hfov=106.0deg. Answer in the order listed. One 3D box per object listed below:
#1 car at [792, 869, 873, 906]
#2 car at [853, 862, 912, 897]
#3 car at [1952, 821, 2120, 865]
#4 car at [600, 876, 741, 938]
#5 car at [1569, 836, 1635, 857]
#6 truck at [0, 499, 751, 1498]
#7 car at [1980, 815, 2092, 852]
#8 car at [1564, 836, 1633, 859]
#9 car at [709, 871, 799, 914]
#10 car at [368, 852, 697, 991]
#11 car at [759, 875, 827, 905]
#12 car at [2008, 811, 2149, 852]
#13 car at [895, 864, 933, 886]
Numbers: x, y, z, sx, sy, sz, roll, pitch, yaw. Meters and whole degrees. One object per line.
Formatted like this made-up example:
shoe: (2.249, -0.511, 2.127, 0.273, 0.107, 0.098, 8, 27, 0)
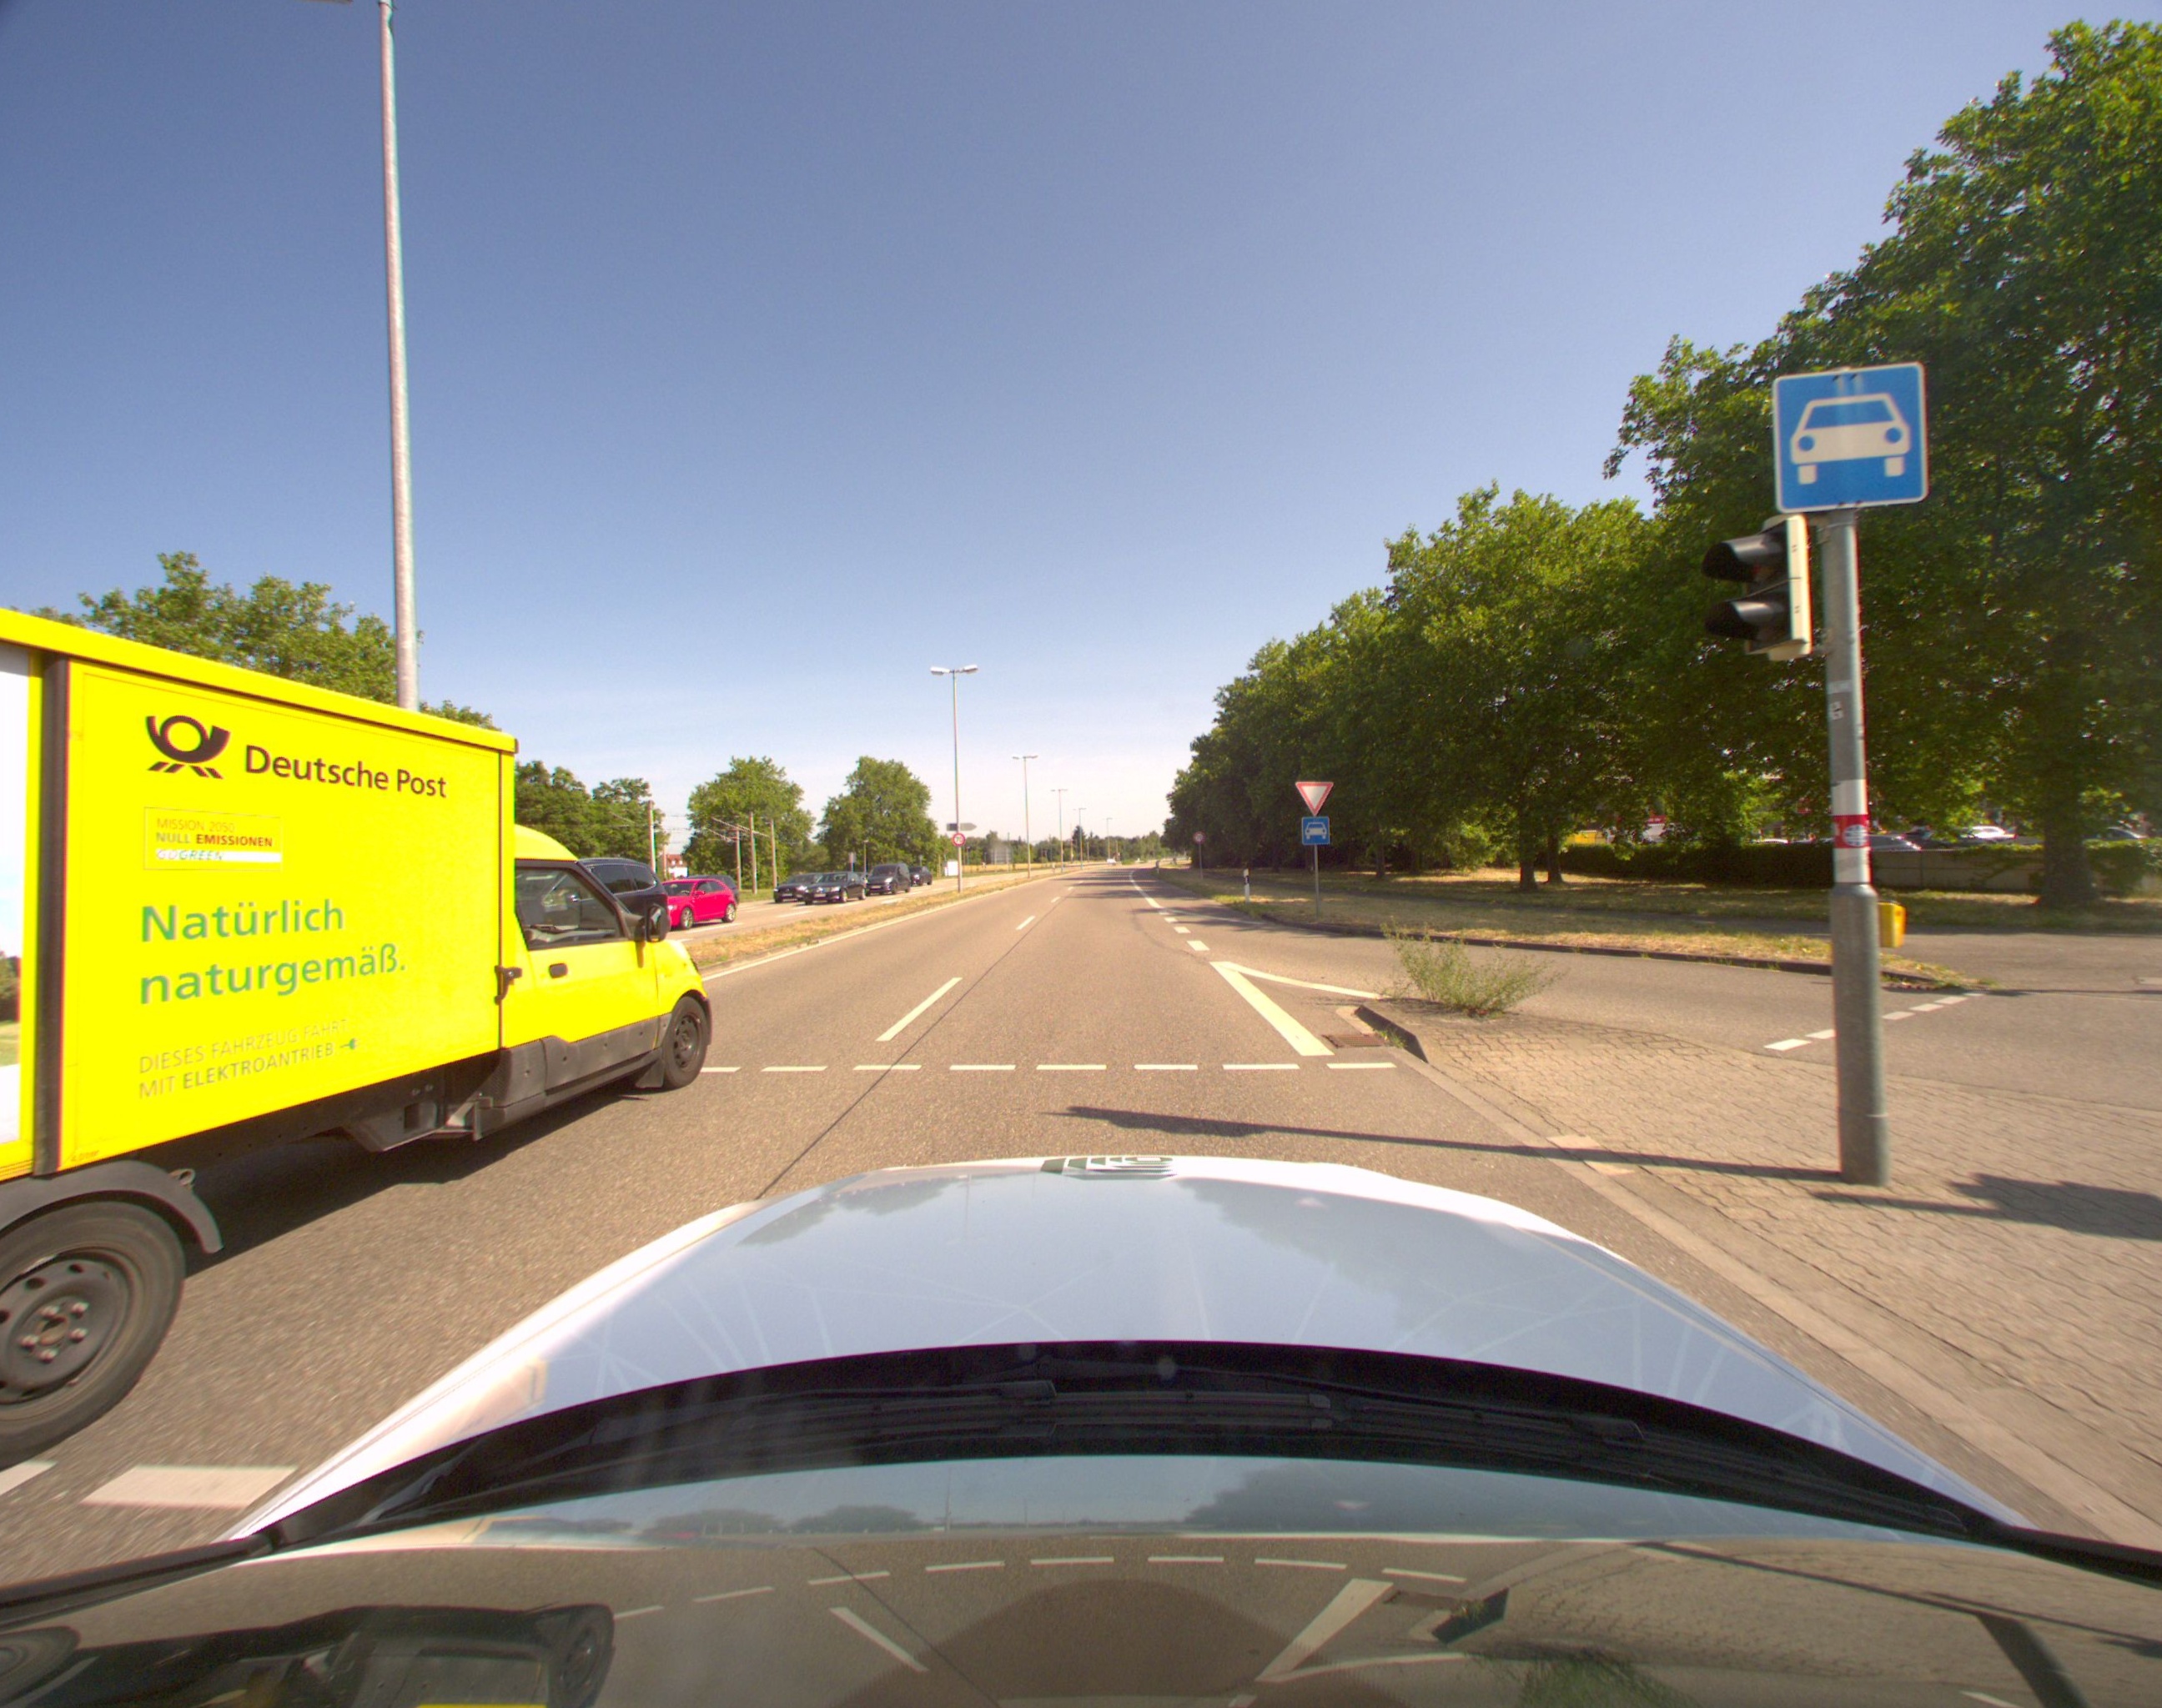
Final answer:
car: (-11.218, 1.485, 37.120, 1.972, 1.457, 4.455, -2, -1, 4)
car: (-11.101, 1.399, 45.845, 1.973, 1.779, 4.493, -2, -1, 3)
car: (42.577, -0.427, 36.444, 1.991, 1.750, 4.471, -2, -1, -24)
car: (-11.574, 1.445, 23.293, 1.808, 1.485, 4.002, -2, -1, 2)
car: (41.119, -0.558, 64.398, 3.958, 1.585, 2.008, -1, -1, 14)
truck: (-3.712, 0.386, 3.526, 2.105, 2.457, 5.916, -1, -1, 0)
car: (56.996, -1.201, 48.667, 3.963, 2.014, 2.005, -3, -1, 9)
car: (38.961, -0.475, 61.382, 3.958, 1.684, 2.007, -1, -1, 14)
car: (-14.681, 1.692, 36.880, 2.064, 1.622, 4.490, -4, -1, 1)
car: (-8.471, 0.926, 13.237, 1.972, 1.750, 4.512, -4, -1, 4)
car: (-15.058, 1.854, 42.861, 1.986, 1.332, 4.002, -2, -1, 2)
car: (48.502, -1.055, 39.691, 3.963, 1.728, 2.005, -3, -1, 9)
car: (-13.717, 1.661, 67.137, 1.974, 1.660, 4.557, -2, -1, 2)
